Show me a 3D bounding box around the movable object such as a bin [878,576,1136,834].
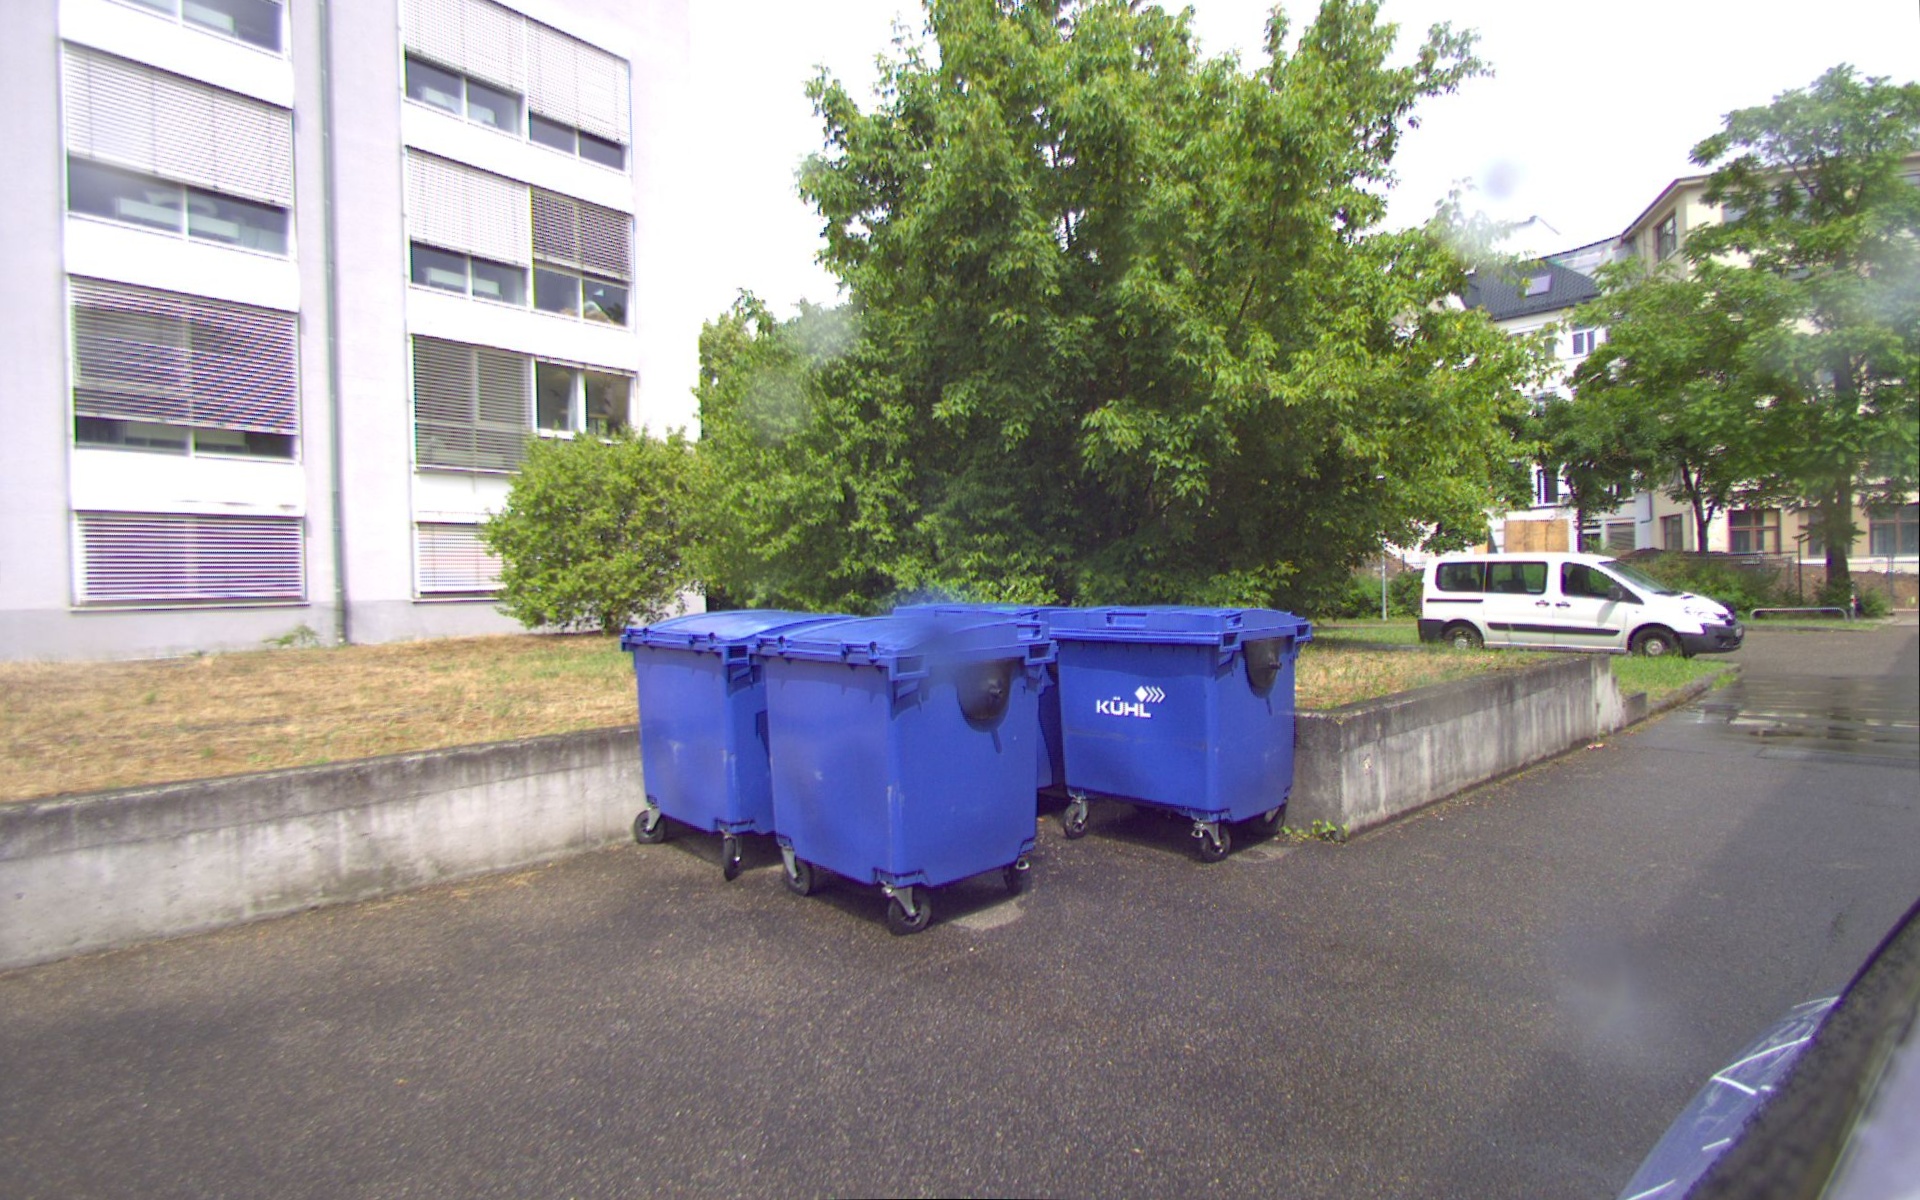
[{"bbox_3d":[0.300,0.627,6.736,1.084,1.502,1.275,-1,-2,-45],"label":"movable object such as a bin"}]

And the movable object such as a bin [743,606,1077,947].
[{"bbox_3d":[-0.253,0.707,4.836,1.038,1.334,1.230,-1,0,-45],"label":"movable object such as a bin"}]

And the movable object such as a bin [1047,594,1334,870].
[{"bbox_3d":[1.298,0.665,5.746,1.038,1.334,1.174,-1,-2,-45],"label":"movable object such as a bin"}]

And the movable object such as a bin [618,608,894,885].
[{"bbox_3d":[-1.175,0.726,5.768,1.038,1.334,1.230,-1,0,-45],"label":"movable object such as a bin"}]

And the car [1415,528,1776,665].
[{"bbox_3d":[10.879,-0.034,17.671,1.966,2.039,4.944,-2,0,-41],"label":"car"}]
